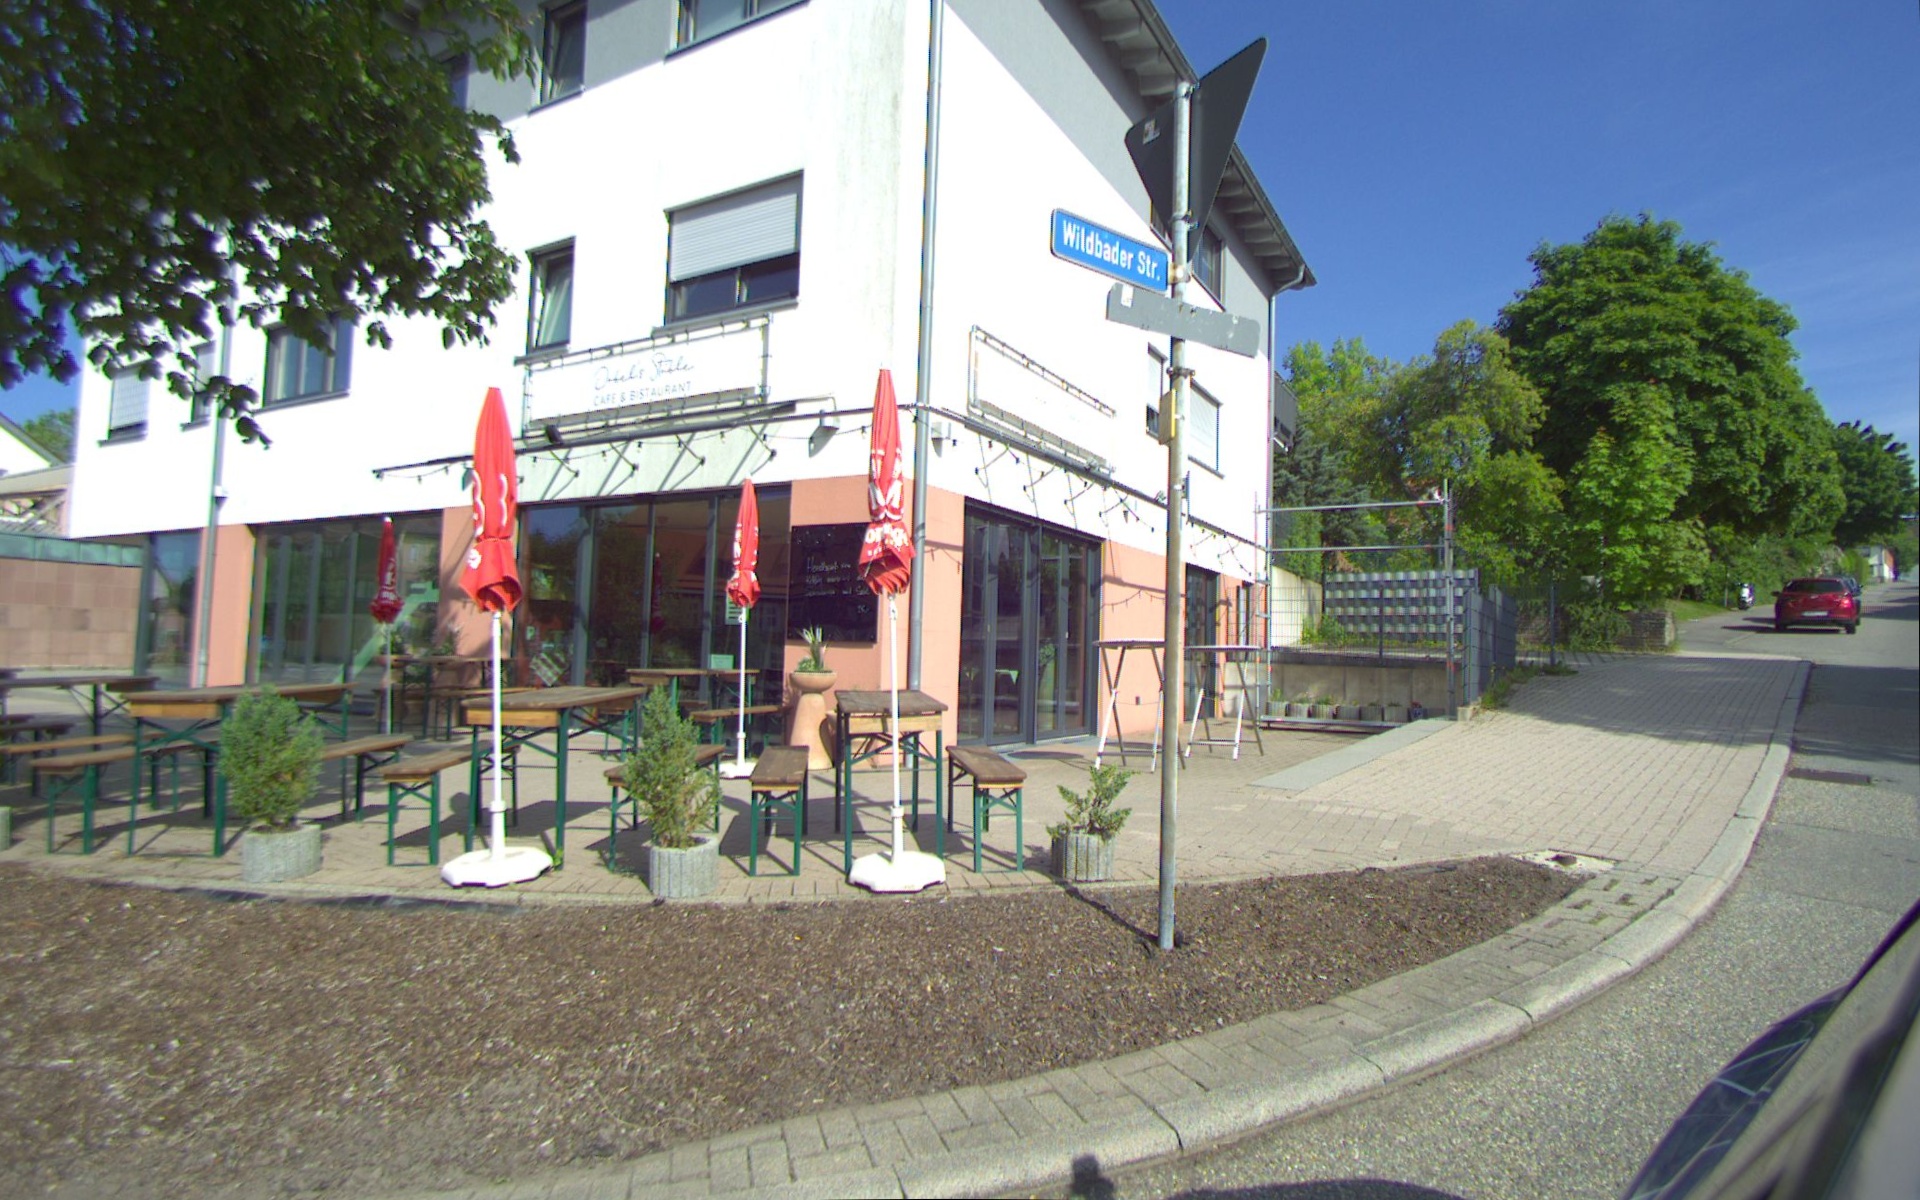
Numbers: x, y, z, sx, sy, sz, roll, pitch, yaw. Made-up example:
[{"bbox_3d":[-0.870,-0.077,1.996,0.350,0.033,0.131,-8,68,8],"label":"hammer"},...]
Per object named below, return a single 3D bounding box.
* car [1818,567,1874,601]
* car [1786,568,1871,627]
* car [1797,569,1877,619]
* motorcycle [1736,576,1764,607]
[{"bbox_3d":[39.866,-0.722,45.503,1.770,1.489,3.752,0,1,43],"label":"car"},{"bbox_3d":[23.961,-0.093,27.880,1.619,1.517,3.752,0,1,43],"label":"car"},{"bbox_3d":[27.682,-0.213,31.918,1.770,1.489,3.752,0,1,43],"label":"car"},{"bbox_3d":[31.840,-0.351,40.790,0.782,1.196,2.156,0,1,41],"label":"motorcycle"}]
